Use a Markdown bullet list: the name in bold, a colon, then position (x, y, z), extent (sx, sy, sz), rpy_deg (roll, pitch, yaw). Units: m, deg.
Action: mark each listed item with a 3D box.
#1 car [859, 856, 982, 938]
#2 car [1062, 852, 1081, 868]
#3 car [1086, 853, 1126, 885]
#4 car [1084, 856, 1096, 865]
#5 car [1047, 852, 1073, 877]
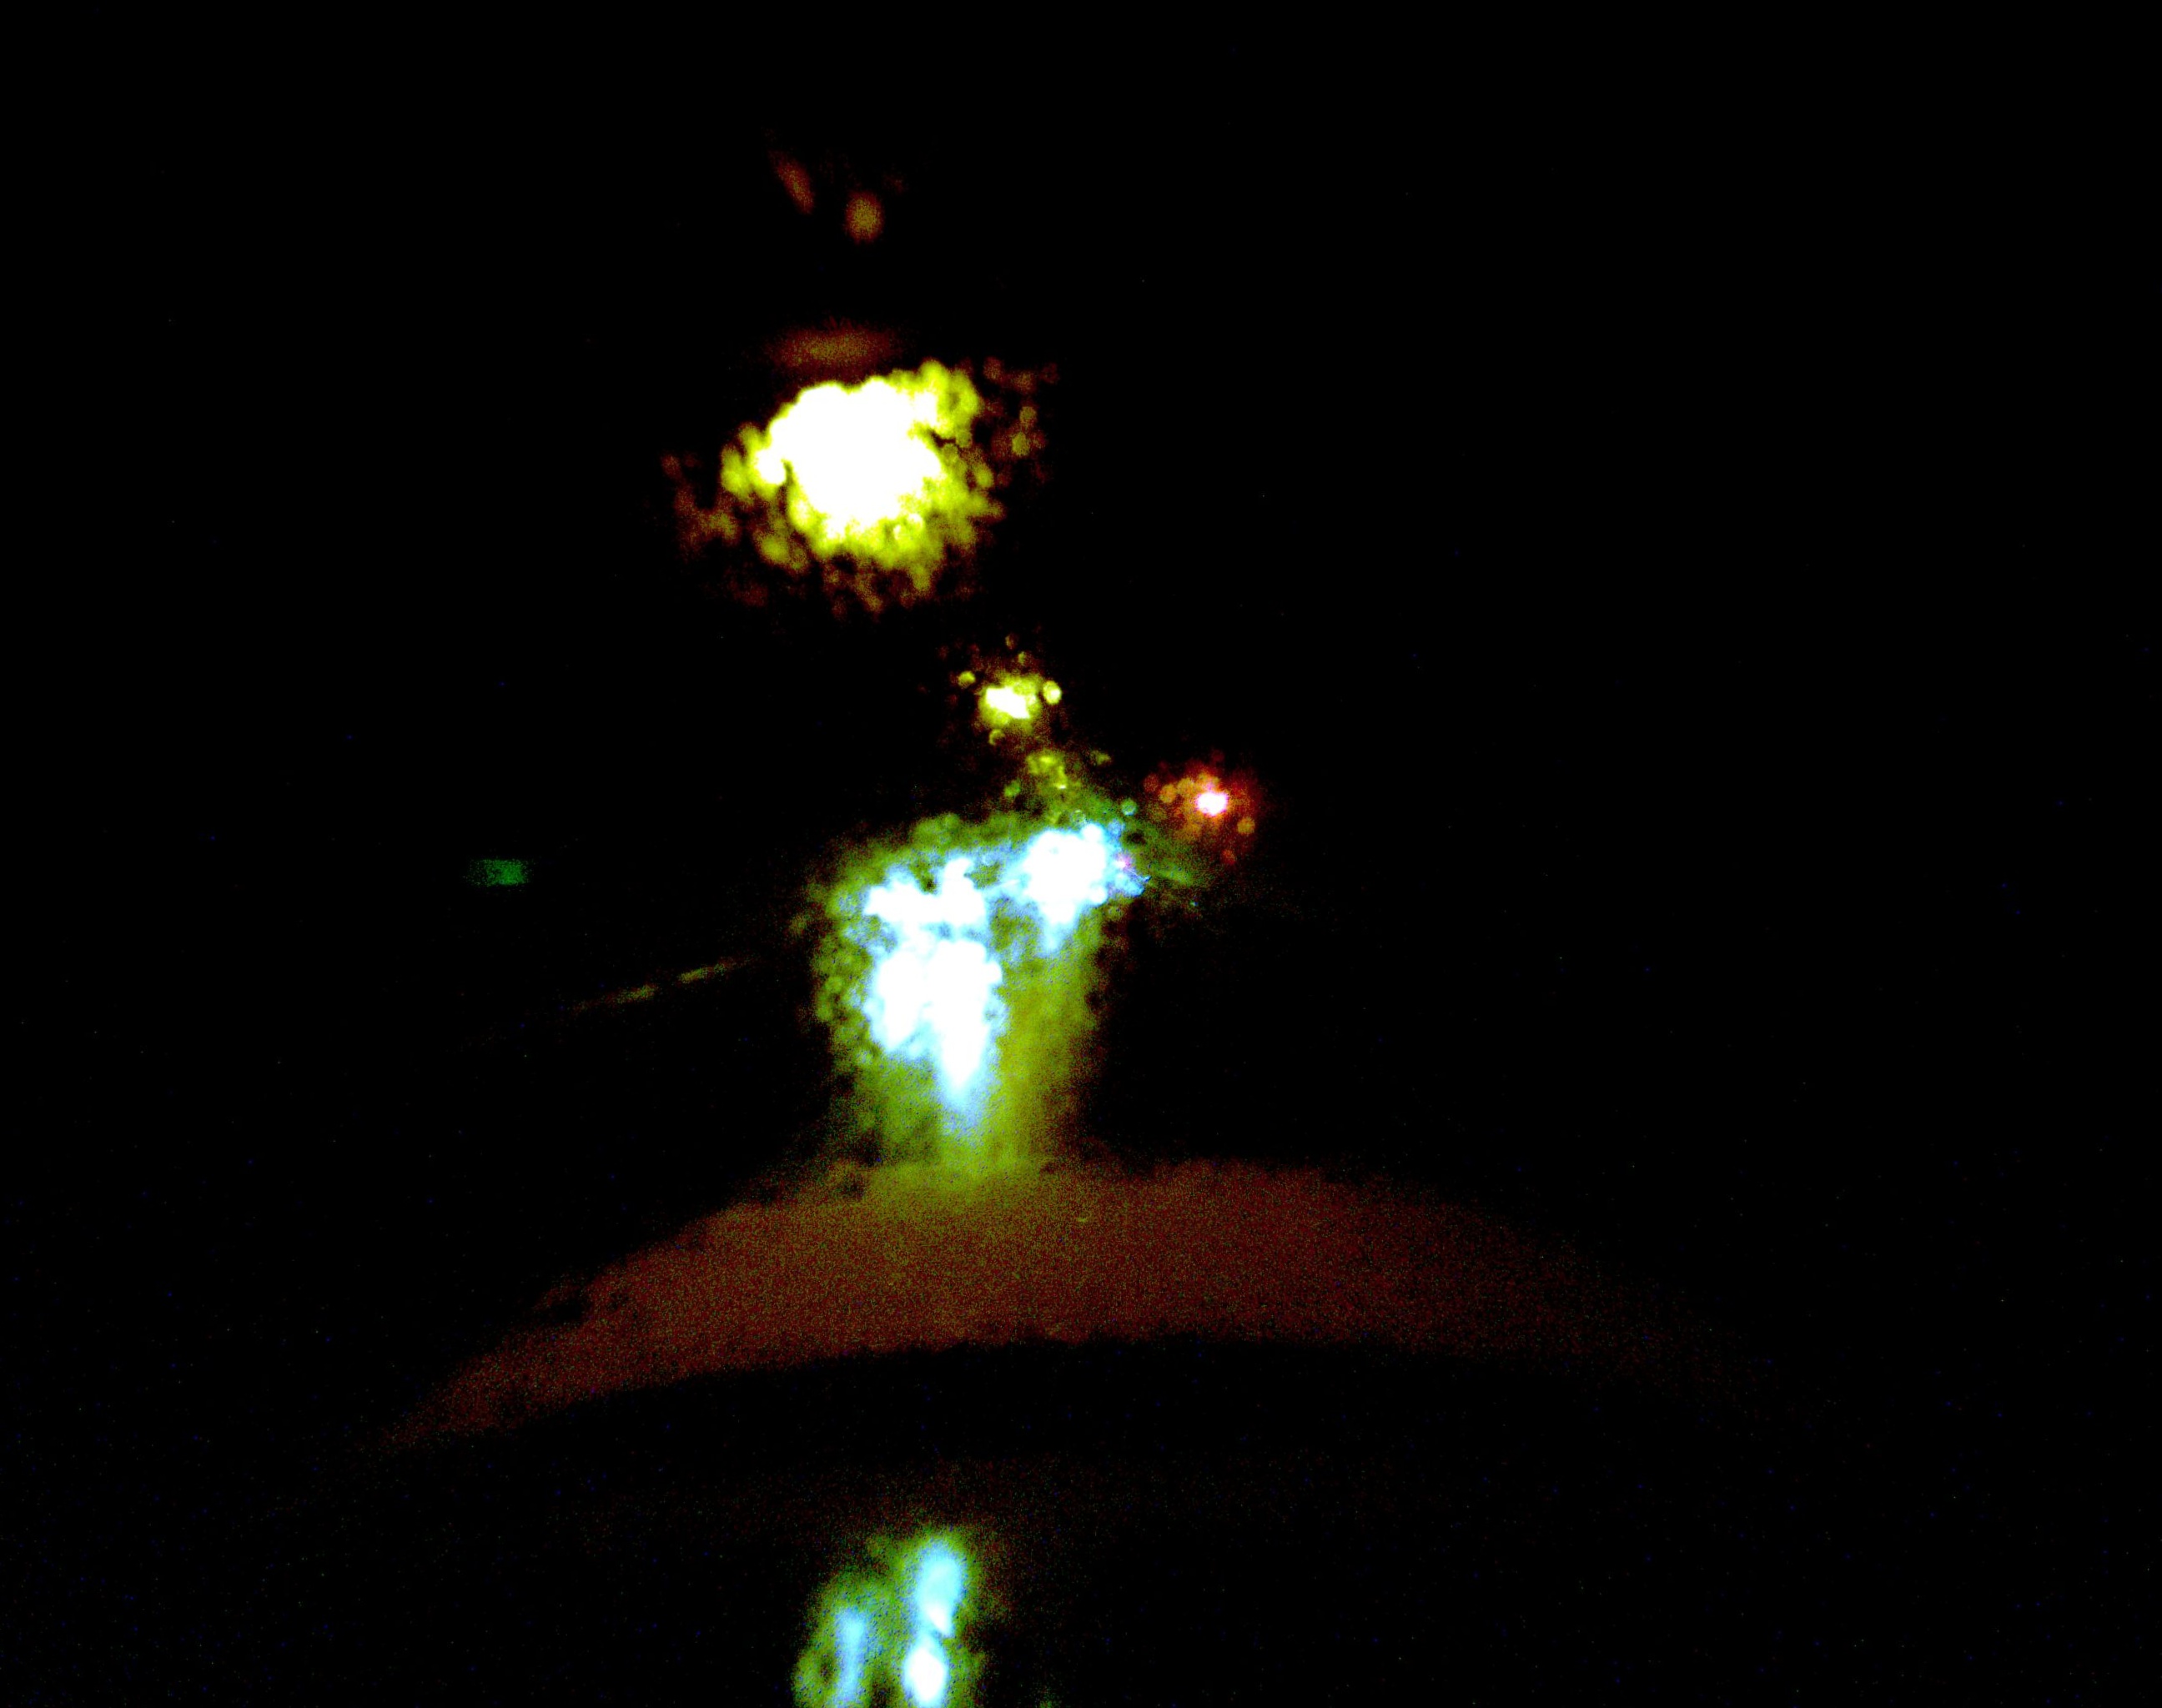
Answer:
- **car**: position (-3.193, 0.796, 16.868), extent (1.704, 1.462, 3.576), rpy_deg (-1, 0, 2)
- **car**: position (-0.943, 0.561, 80.916), extent (1.694, 1.555, 3.874), rpy_deg (-1, 0, 2)
- **car**: position (1.371, 0.806, 44.614), extent (2.082, 1.662, 4.001), rpy_deg (-1, 0, 1)
- **car**: position (1.656, 1.167, 147.207), extent (1.986, 1.709, 4.281), rpy_deg (0, 0, 1)
- **car**: position (-1.525, 0.764, 60.981), extent (1.662, 1.647, 3.908), rpy_deg (-3, 1, 2)
